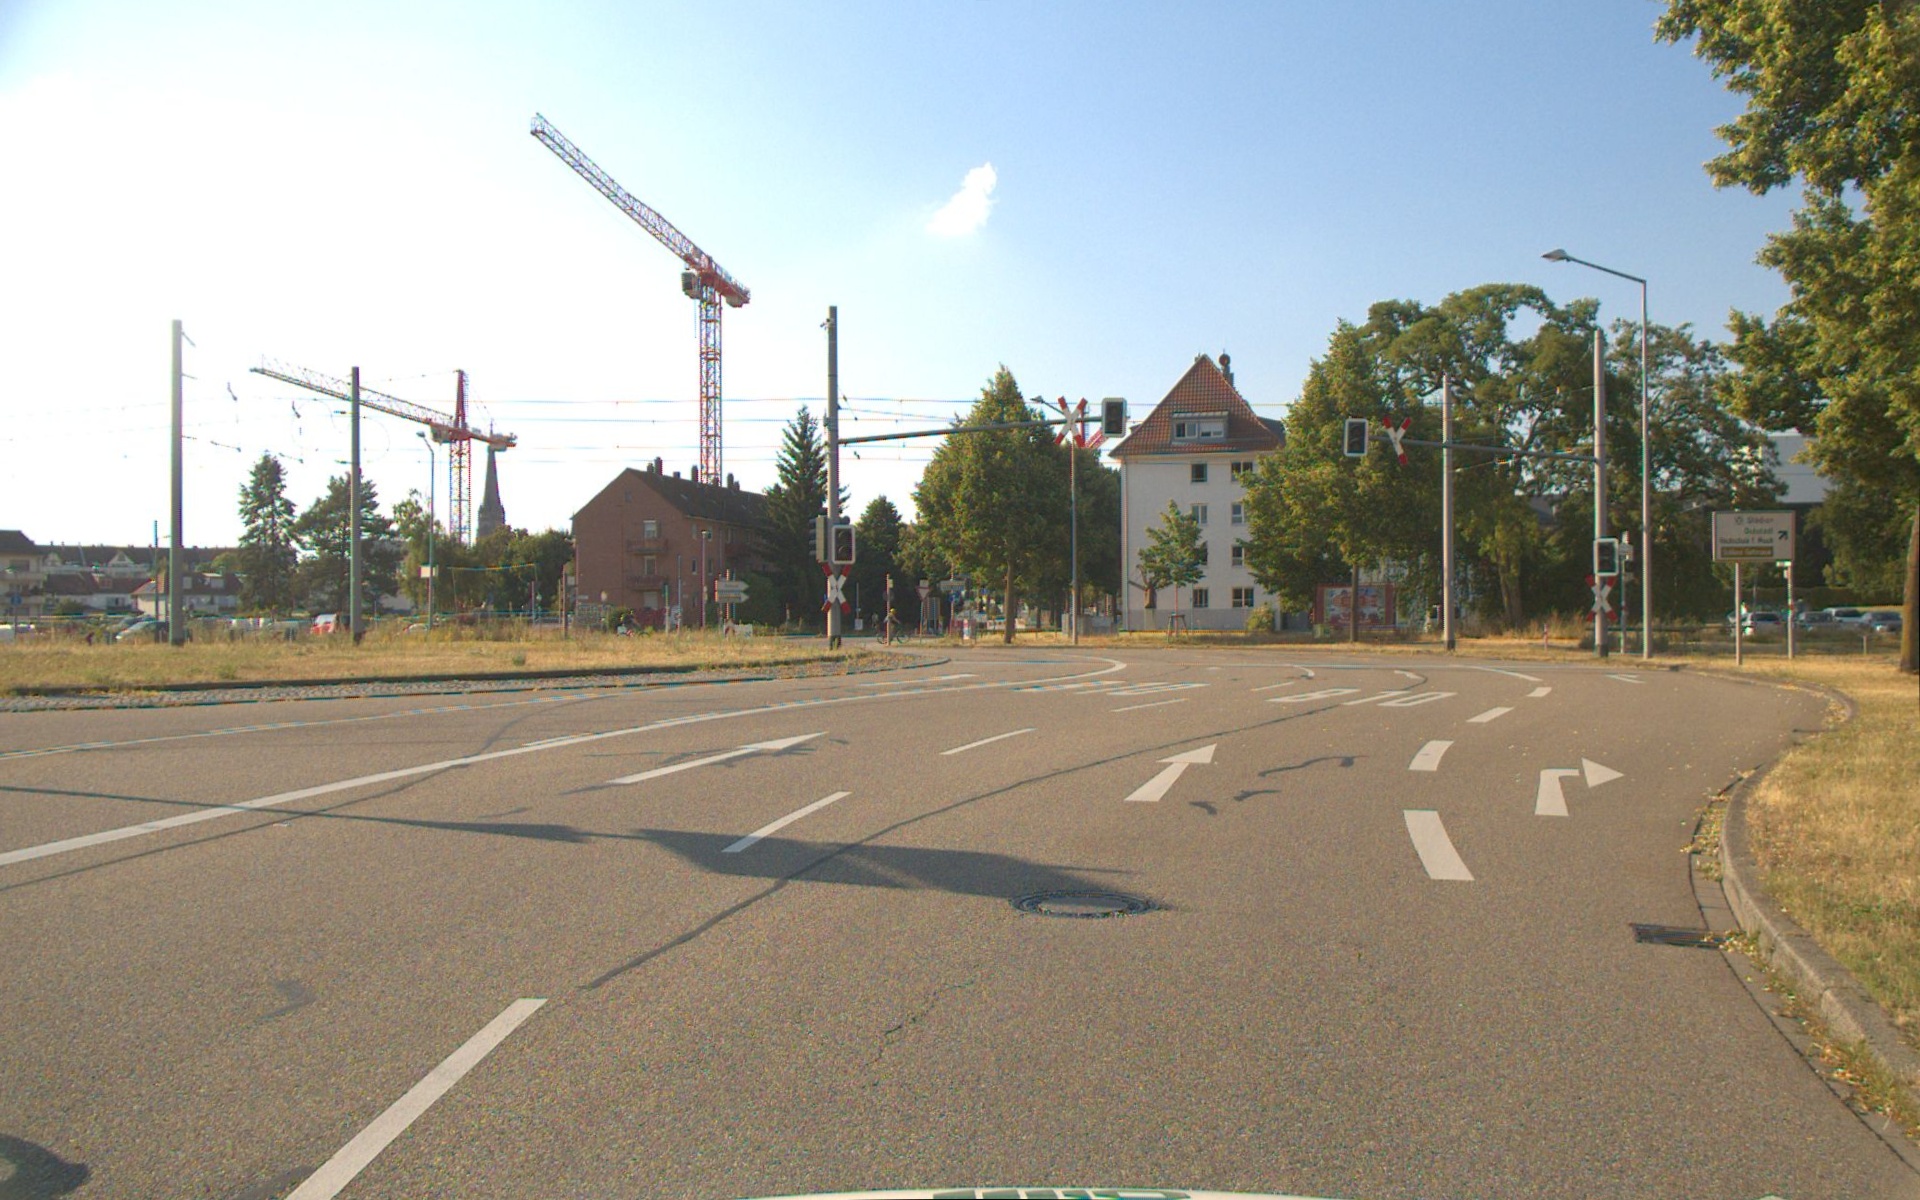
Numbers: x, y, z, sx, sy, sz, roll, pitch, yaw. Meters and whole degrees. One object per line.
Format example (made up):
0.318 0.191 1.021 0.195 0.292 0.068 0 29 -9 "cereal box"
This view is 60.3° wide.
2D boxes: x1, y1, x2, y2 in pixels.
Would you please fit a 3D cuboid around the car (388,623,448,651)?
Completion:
-39.391 2.682 120.210 3.727 2.049 1.673 -1 -1 8 "car"

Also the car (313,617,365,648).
-39.117 2.017 104.120 1.908 1.886 3.942 0 0 -40 "car"

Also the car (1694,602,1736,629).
41.632 0.851 91.285 1.567 1.426 3.970 -1 -1 17 "car"

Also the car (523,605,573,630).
-34.173 1.454 137.198 3.727 2.049 1.673 -1 -1 8 "car"

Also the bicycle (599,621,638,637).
-18.049 1.526 87.452 1.955 0.839 0.428 0 0 -17 "bicycle"

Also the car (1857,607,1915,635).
43.606 0.986 77.954 1.567 1.242 3.970 -1 -1 17 "car"

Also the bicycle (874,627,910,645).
-3.742 1.976 91.033 1.955 0.934 0.428 0 0 -17 "bicycle"

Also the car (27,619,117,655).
-47.855 1.994 89.171 3.968 1.847 1.968 0 0 -43 "car"

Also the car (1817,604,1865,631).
47.374 0.951 89.002 1.567 1.426 3.970 -1 -1 17 "car"

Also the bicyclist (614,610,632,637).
-17.848 1.237 87.547 0.883 1.421 0.523 0 0 -17 "bicyclist"

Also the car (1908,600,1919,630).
45.788 0.691 77.447 1.567 1.426 3.970 -1 -1 17 "car"

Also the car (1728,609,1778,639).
38.041 1.157 79.388 1.567 1.426 3.970 -1 -1 17 "car"

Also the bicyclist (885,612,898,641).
-3.765 1.456 91.035 0.612 1.537 0.417 0 0 -17 "bicyclist"

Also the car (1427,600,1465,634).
24.054 0.863 81.867 1.734 1.646 3.970 -1 -1 17 "car"
